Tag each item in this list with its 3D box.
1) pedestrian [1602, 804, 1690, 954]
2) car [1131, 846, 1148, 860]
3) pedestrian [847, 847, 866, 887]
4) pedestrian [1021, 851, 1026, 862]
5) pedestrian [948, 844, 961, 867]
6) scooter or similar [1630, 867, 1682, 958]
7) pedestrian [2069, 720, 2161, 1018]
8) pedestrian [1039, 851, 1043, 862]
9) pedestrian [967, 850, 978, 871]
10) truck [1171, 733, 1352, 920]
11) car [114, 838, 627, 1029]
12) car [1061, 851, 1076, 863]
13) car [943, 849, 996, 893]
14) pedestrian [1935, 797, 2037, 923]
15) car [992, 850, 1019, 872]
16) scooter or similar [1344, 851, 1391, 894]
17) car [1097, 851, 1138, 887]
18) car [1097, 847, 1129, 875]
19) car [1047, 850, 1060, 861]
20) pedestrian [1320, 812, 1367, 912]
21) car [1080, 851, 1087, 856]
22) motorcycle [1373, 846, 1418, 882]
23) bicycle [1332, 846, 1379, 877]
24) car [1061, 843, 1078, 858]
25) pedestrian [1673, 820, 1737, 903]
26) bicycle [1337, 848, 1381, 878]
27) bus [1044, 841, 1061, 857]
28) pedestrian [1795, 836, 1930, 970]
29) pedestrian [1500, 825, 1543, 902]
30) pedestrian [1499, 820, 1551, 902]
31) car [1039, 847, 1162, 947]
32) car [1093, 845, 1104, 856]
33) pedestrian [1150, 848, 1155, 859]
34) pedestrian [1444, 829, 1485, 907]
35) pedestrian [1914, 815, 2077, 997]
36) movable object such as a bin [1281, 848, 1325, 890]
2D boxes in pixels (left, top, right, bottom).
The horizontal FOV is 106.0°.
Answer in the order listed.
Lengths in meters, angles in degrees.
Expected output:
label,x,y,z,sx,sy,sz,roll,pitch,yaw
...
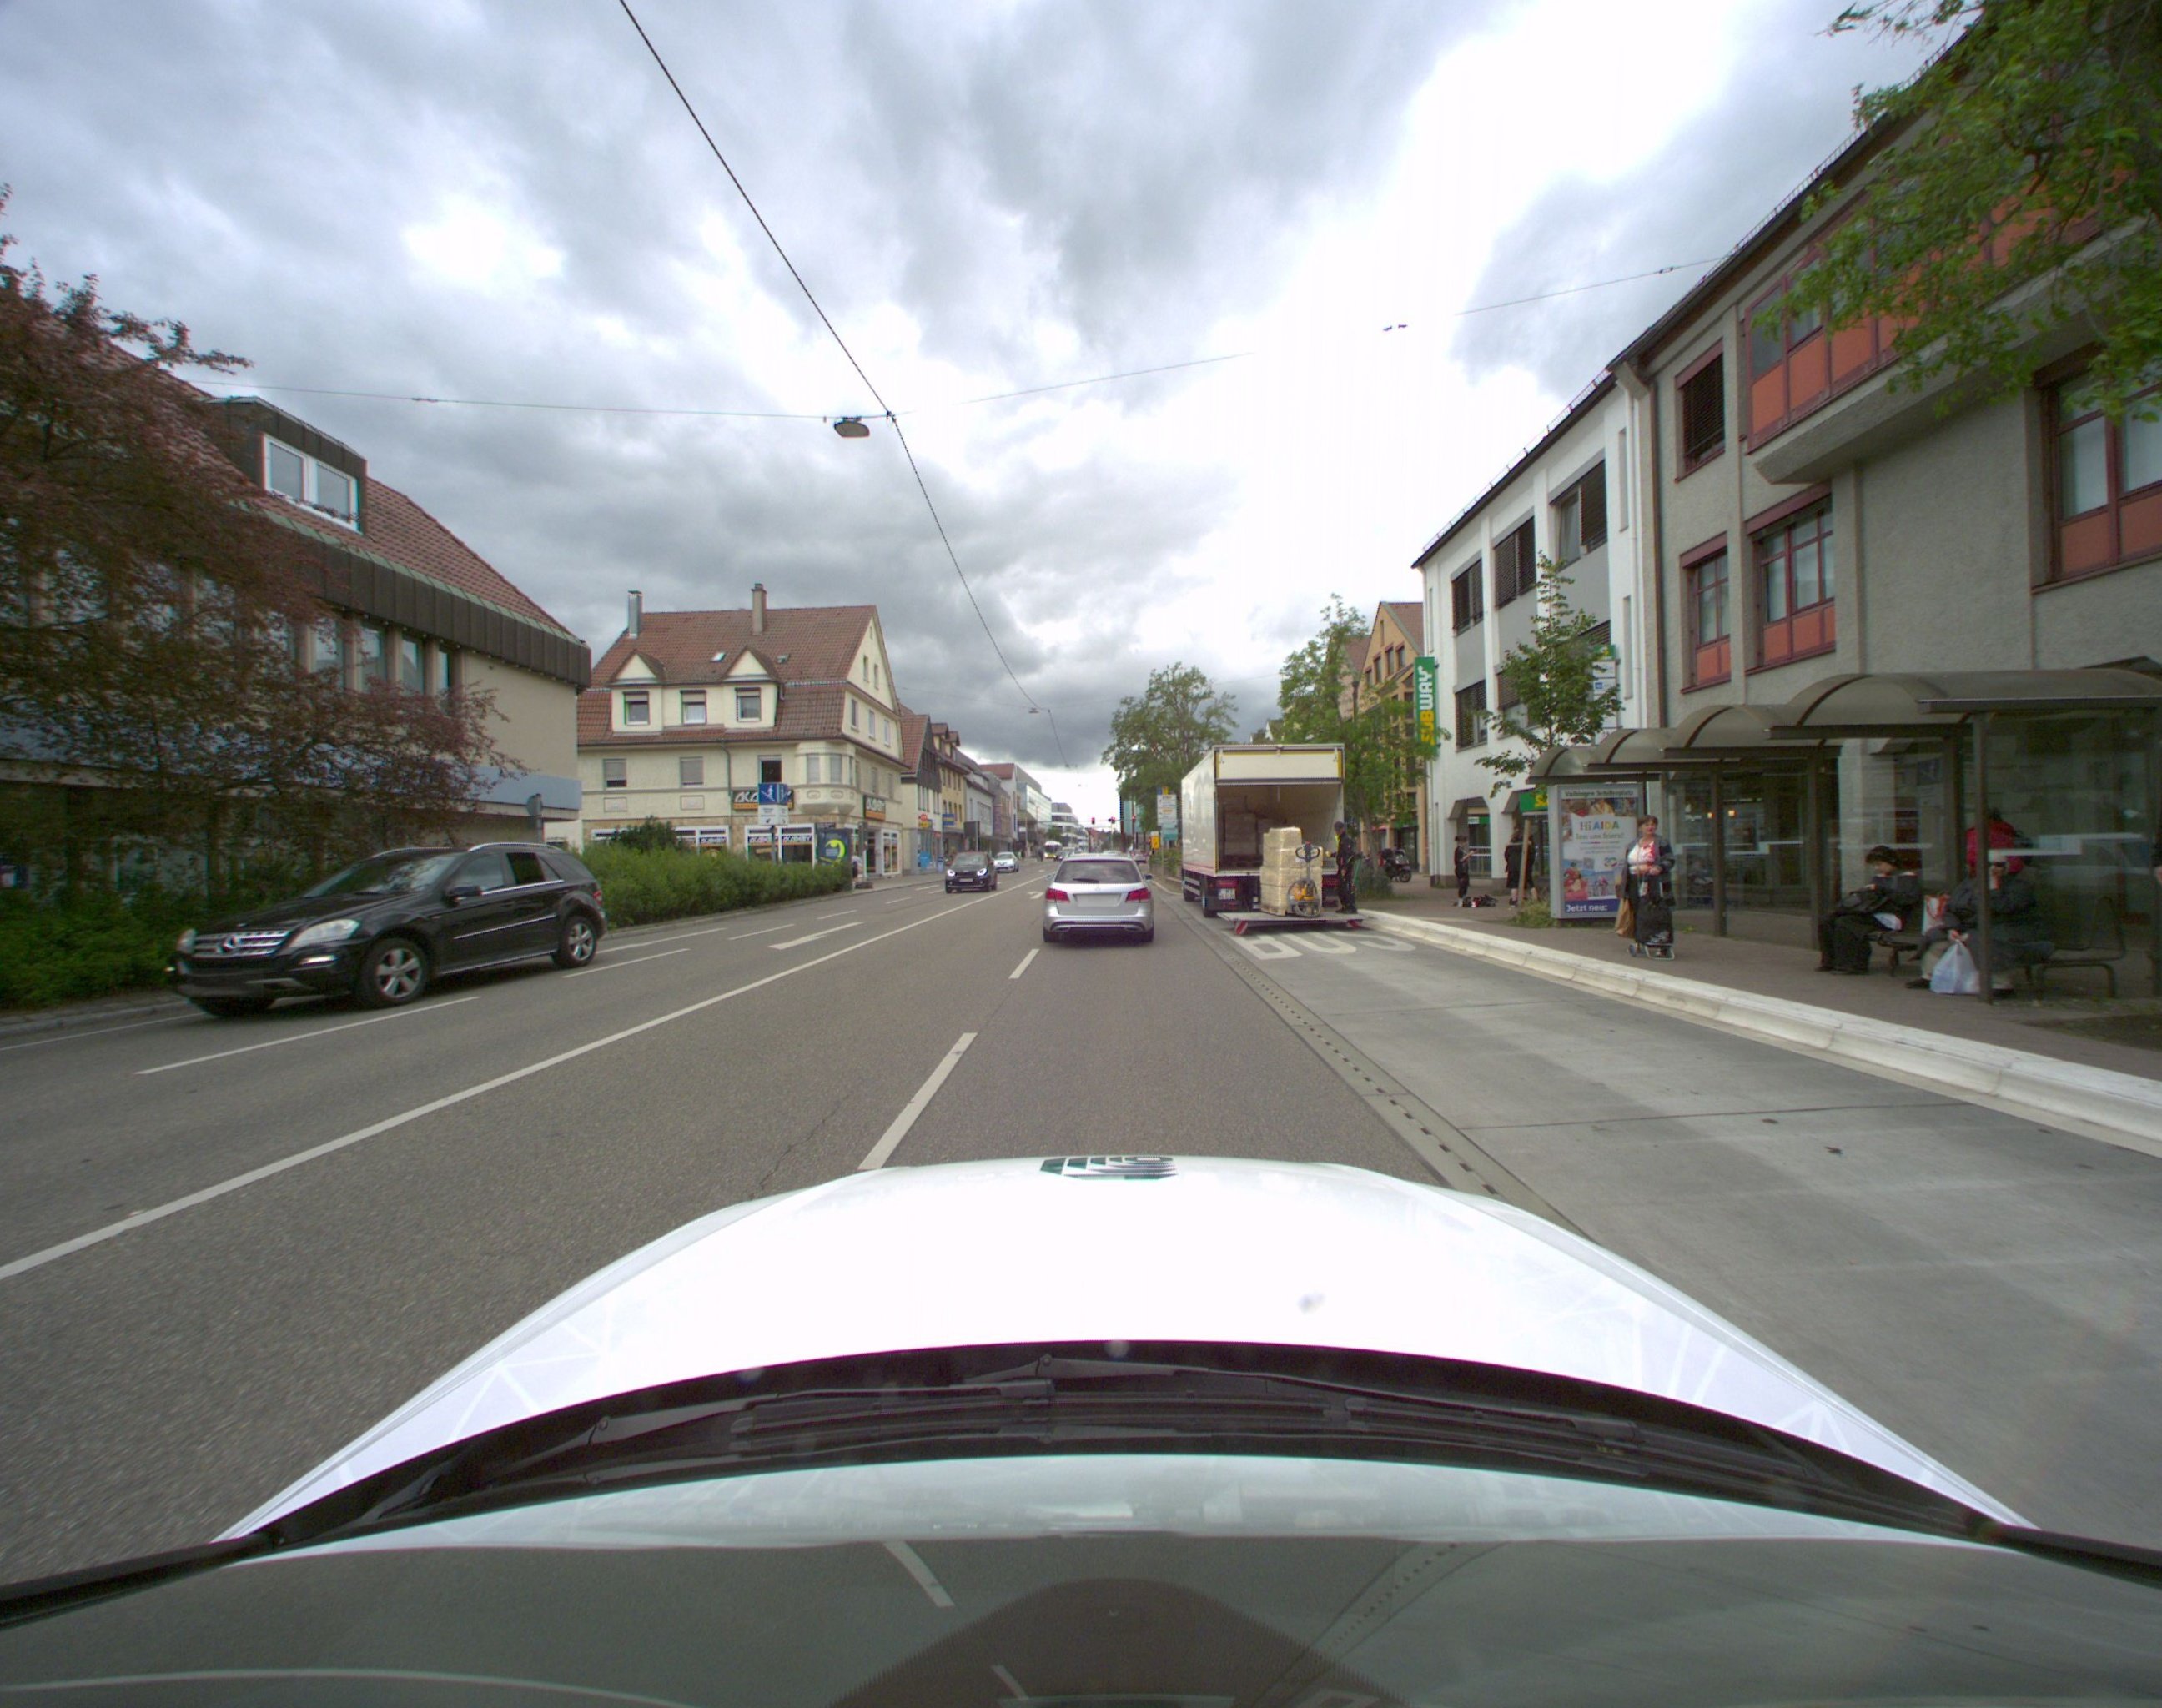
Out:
label,x,y,z,sx,sy,sz,roll,pitch,yaw
pedestrian,6.430,0.272,9.282,0.537,1.634,0.583,2,0,-23
car,7.294,-0.179,101.345,1.985,1.684,4.003,-1,0,2
pedestrian,-10.392,0.598,37.671,0.631,1.824,0.681,-2,0,2
pedestrian,-8.324,0.348,117.225,0.584,1.634,0.615,2,0,0
pedestrian,-10.035,0.114,64.468,0.865,1.746,0.805,2,0,-3
scooter or similar,6.300,0.625,8.926,0.387,0.959,0.351,-2,0,-39
pedestrian,7.749,0.088,5.786,0.608,2.047,0.590,-3,-1,15
pedestrian,-6.025,0.419,122.865,0.611,1.634,0.588,2,0,0
pedestrian,-8.589,0.511,64.546,0.815,1.634,0.979,1,0,-3
truck,4.026,-0.555,20.620,2.678,3.561,9.771,-1,0,2
car,-8.171,0.757,10.202,2.060,1.738,4.696,-3,0,3
car,-1.535,0.378,102.531,1.610,1.428,3.926,-2,0,3
car,-4.267,0.611,31.514,1.565,1.540,2.960,-3,0,0
pedestrian,12.195,0.073,10.986,0.725,1.634,0.613,-1,0,-7
car,-5.758,0.543,62.598,1.634,1.568,3.926,-3,-1,0
scooter or similar,8.308,0.529,23.612,1.175,1.196,0.459,-2,0,-8
car,1.662,0.644,37.326,1.747,1.521,4.002,-2,0,2
car,2.100,0.428,53.600,1.985,1.684,4.003,-1,0,2
car,-4.158,0.251,122.746,1.611,1.523,3.509,-2,0,2
pedestrian,4.797,0.153,14.899,0.611,1.780,0.587,-2,-1,-2
car,0.732,-0.085,210.438,1.568,1.244,3.609,-1,0,3
motorcycle,11.568,0.348,30.019,0.735,1.270,2.106,-2,0,-2
bicycle,12.279,0.338,36.483,1.811,1.326,0.843,-1,0,-2
car,-1.573,-0.471,113.023,1.954,1.960,5.142,-3,0,2
pedestrian,11.843,0.133,15.473,0.724,1.526,0.614,-1,0,-5
bicycle,12.157,0.380,35.590,1.670,1.259,0.669,-1,0,-2
bus,-5.603,-0.955,161.911,2.764,3.165,5.937,-1,0,2
pedestrian,7.610,0.466,7.962,0.695,1.232,0.590,-3,-1,11
pedestrian,9.399,0.204,17.392,0.618,1.611,0.581,-1,-2,-43
pedestrian,10.092,0.152,18.510,0.615,1.819,0.761,-1,-1,-22
car,0.315,0.660,14.536,1.868,1.506,4.000,-1,0,0
car,3.519,-0.740,163.949,1.986,2.013,4.002,-1,0,2
pedestrian,10.707,-0.087,121.800,0.612,1.634,0.586,2,0,-7
pedestrian,8.724,0.309,18.549,0.611,1.740,0.587,2,0,-2
pedestrian,7.442,0.412,6.660,0.608,1.401,0.590,-3,-1,15
movable object such as a bin,7.291,0.484,26.824,1.138,1.339,1.377,-2,0,4
